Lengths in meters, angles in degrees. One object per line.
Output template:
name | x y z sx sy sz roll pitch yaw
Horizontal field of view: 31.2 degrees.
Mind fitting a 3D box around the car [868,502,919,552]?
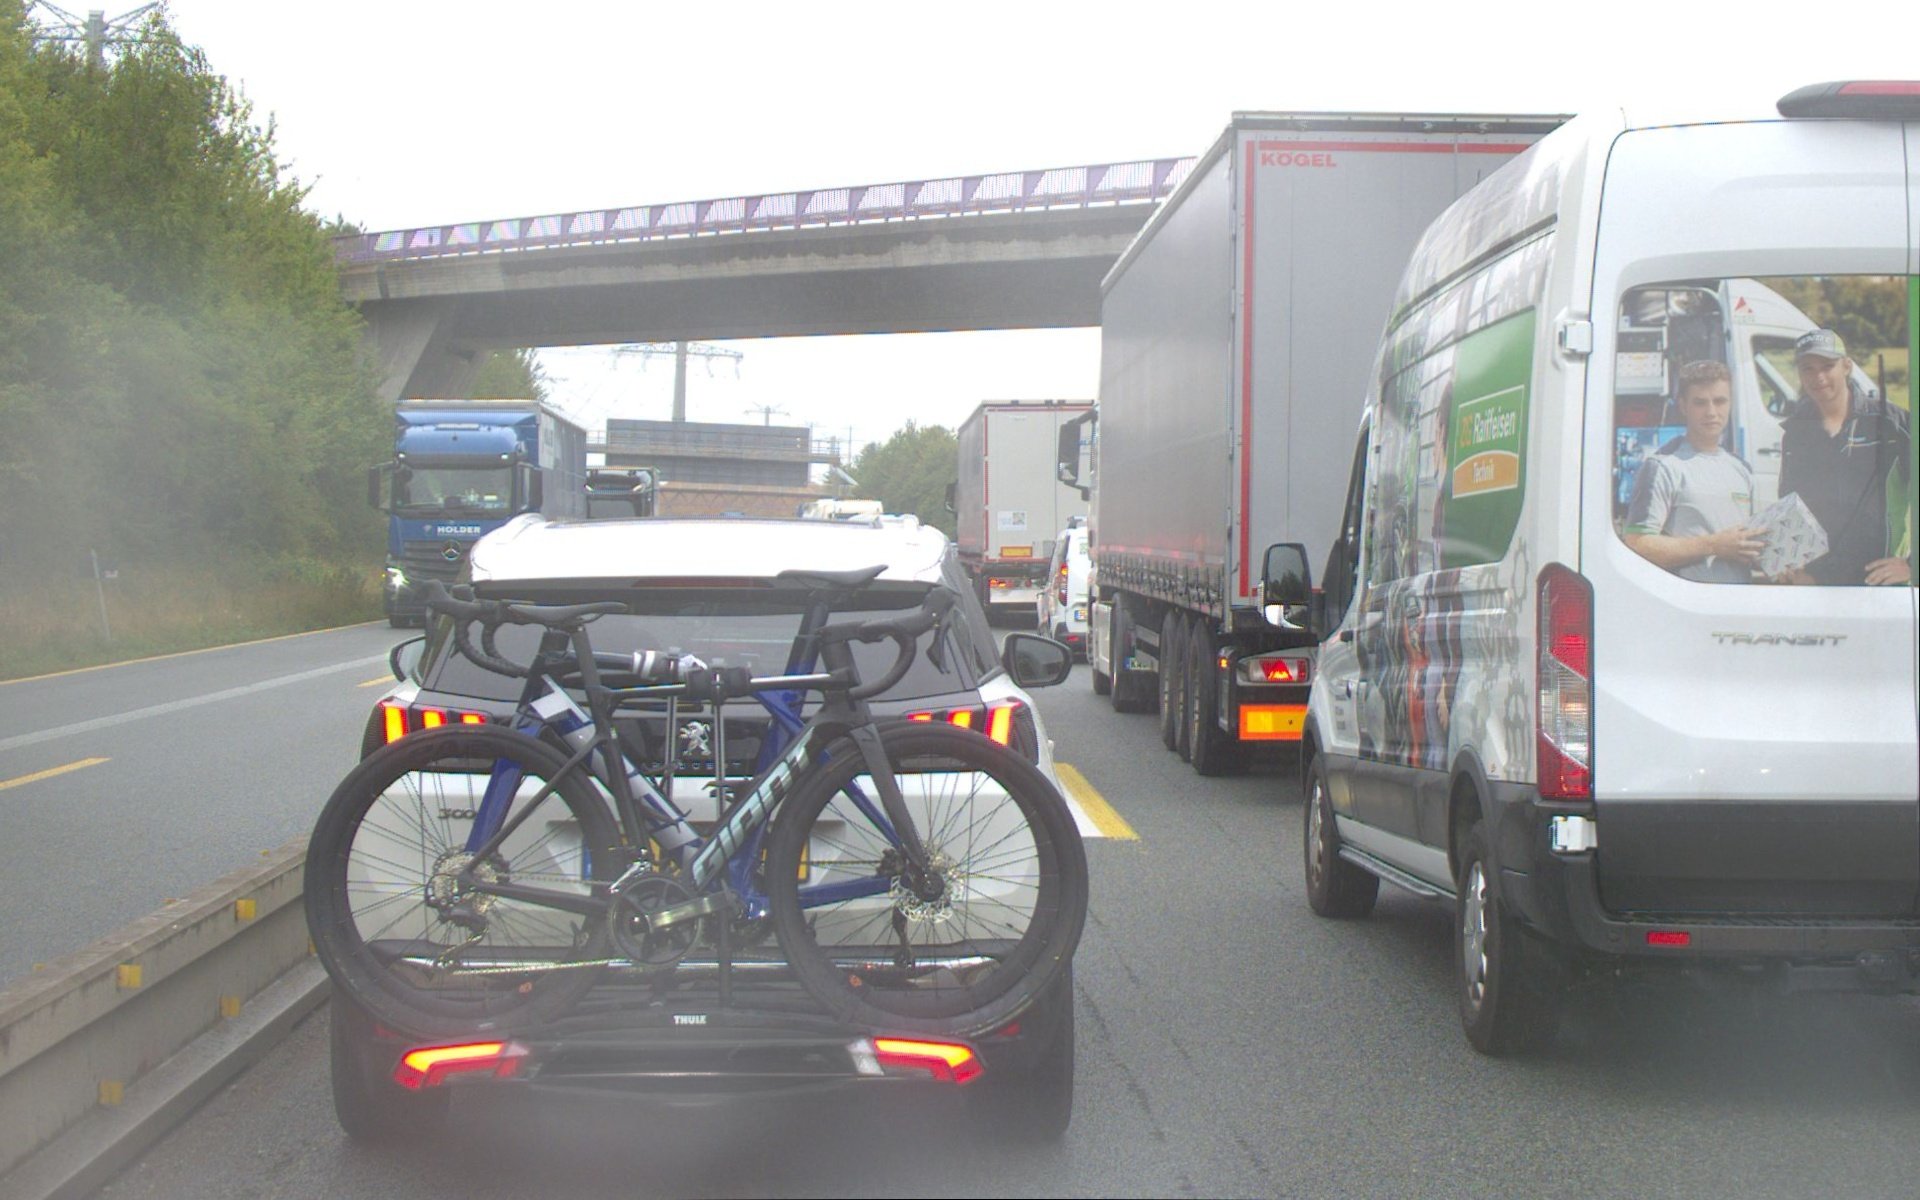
car | -2.765 -3.010 142.397 1.993 2.007 4.000 1 1 -3

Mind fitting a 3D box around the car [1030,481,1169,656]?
car | 1.793 -0.421 45.356 1.670 2.173 4.535 1 1 1

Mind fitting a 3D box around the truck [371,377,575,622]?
truck | -9.199 -1.793 66.704 2.765 4.109 16.930 1 1 -4

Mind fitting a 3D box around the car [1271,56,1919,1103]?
car | 2.440 -0.077 11.848 2.144 2.667 6.117 1 1 0

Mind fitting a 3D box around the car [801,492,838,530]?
car | -8.267 -5.233 202.900 1.993 2.119 4.527 1 1 0

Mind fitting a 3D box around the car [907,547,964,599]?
car | -0.718 -0.800 101.202 1.638 1.492 3.666 1 1 0

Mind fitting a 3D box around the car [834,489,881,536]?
car | -5.177 -4.409 173.694 2.239 2.299 4.572 1 1 0

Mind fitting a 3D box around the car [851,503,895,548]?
car | -4.058 -3.472 160.974 1.993 2.007 4.000 1 1 0

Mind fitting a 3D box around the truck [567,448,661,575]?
truck | -11.662 -2.927 116.620 2.464 4.109 10.089 1 1 -2

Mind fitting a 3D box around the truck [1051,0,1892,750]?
truck | 3.149 -2.110 29.472 3.979 5.654 20.377 1 1 0

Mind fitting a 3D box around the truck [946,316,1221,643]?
truck | 2.262 -2.210 70.281 4.743 5.654 20.376 1 1 1

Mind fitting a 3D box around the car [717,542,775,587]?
car | -7.374 -1.215 118.251 1.938 1.489 4.001 1 1 -4

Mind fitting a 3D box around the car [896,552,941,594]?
car | -1.522 -0.996 126.410 1.638 1.492 3.666 1 1 0

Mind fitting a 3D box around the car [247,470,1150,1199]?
car | -0.507 0.540 9.255 1.810 1.632 4.635 1 1 1

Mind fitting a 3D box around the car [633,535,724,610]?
car | -6.264 -0.626 76.794 1.783 1.604 4.104 1 1 -2
